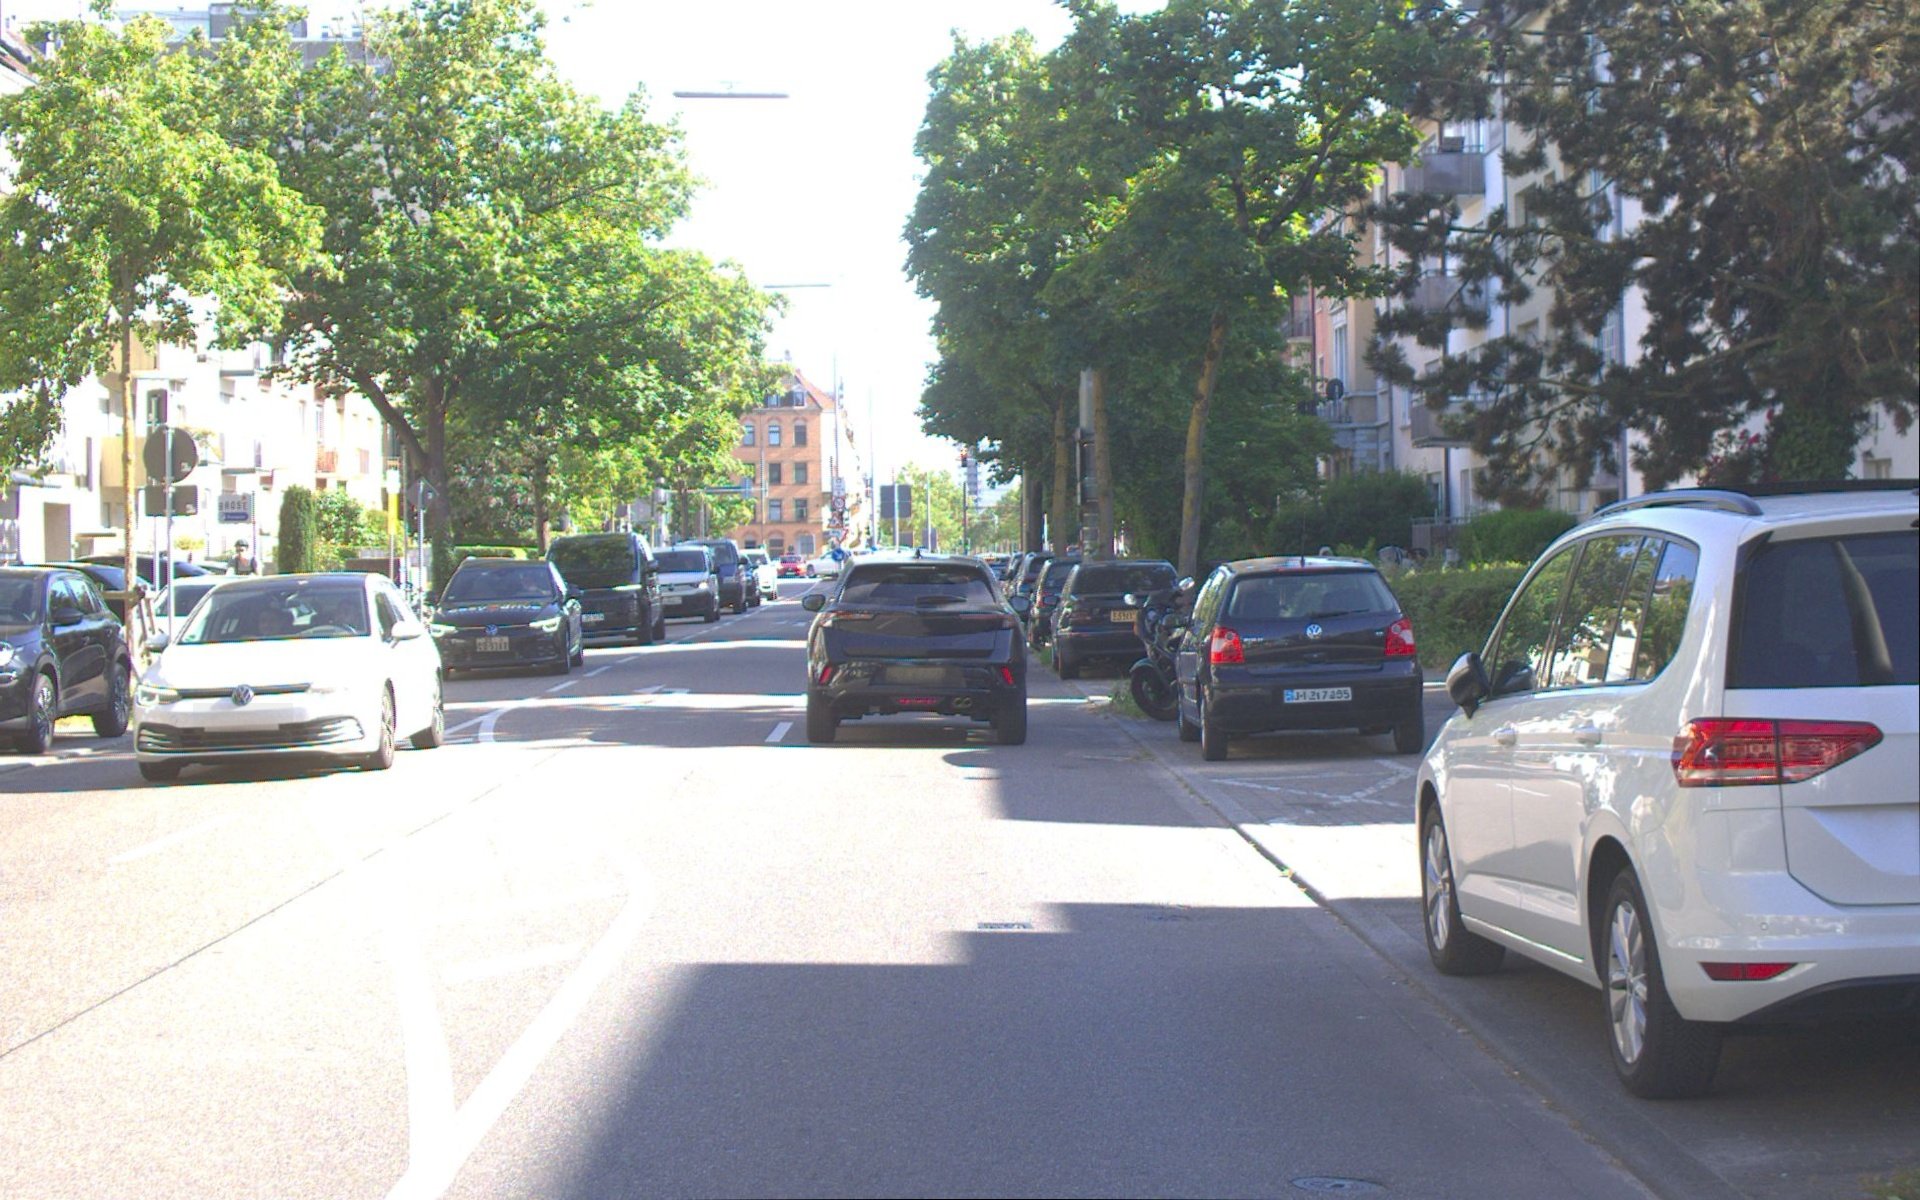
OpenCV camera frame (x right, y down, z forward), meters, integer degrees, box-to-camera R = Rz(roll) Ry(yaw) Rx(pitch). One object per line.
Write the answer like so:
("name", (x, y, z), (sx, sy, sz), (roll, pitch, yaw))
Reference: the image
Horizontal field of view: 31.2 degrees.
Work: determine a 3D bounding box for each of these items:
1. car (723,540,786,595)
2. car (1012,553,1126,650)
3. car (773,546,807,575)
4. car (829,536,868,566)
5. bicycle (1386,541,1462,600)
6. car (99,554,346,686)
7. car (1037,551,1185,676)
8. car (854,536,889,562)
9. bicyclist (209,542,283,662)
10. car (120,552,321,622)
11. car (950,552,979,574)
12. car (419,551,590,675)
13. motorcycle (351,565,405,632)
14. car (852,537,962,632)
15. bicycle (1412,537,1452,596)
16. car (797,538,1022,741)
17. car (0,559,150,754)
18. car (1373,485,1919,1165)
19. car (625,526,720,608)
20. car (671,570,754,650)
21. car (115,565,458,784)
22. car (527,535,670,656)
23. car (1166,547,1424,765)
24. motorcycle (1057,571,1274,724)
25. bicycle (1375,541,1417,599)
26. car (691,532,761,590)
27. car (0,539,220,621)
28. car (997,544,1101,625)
("car", (-6.659, -1.070, 111.894), (1.806, 1.642, 4.673), (-3, 1, -1))
("car", (1.712, -0.003, 53.819), (1.692, 1.423, 4.147), (-1, 1, 2))
("car", (-9.881, -2.308, 200.107), (1.791, 1.611, 4.000), (-1, 1, 0))
("car", (-5.568, -2.474, 171.969), (1.772, 1.447, 3.885), (-1, 1, 1))
("bicycle", (10.294, -0.662, 76.289), (1.537, 1.218, 0.463), (-3, 1, 30))
("car", (-8.259, 0.181, 38.901), (1.833, 1.384, 4.802), (0, 1, -1))
("car", (1.818, 0.129, 42.479), (1.586, 1.391, 4.454), (-2, 1, 0))
("car", (-5.076, -2.914, 196.924), (1.772, 1.447, 3.885), (-1, 1, 2))
("bicyclist", (-11.034, 0.032, 53.127), (0.659, 1.818, 1.054), (-2, 1, -40))
("car", (-16.050, -0.298, 74.770), (3.987, 1.481, 1.881), (0, 1, -1))
("car", (0.328, -2.671, 249.066), (1.993, 1.514, 4.000), (2, 0, 1))
("car", (-5.887, 0.134, 44.823), (1.691, 1.448, 4.174), (-3, 1, -1))
("motorcycle", (-10.099, -0.029, 59.690), (0.461, 1.122, 1.717), (0, 1, 7))
("car", (-0.892, -0.298, 59.650), (1.830, 1.573, 3.839), (-1, 1, 0))
("bicycle", (10.702, -0.767, 77.987), (0.591, 1.283, 1.689), (-3, 1, 0))
("car", (-0.417, 0.288, 28.670), (1.745, 1.568, 3.558), (1, 1, -1))
("car", (-8.333, 0.430, 29.736), (1.678, 1.549, 4.008), (0, 1, 0))
("car", (2.526, 0.501, 10.640), (1.768, 1.653, 4.342), (-2, 1, -2))
("car", (-6.558, -0.760, 78.719), (1.815, 1.737, 4.493), (-3, 1, -1))
("car", (-6.427, 0.222, 89.636), (1.803, 1.904, 4.712), (-3, 1, -1))
("car", (-4.946, 0.492, 25.799), (1.733, 1.407, 4.192), (-3, 1, -1))
("car", (-6.274, -0.119, 60.170), (2.016, 1.945, 5.179), (-3, 1, -2))
("car", (2.484, 0.371, 26.199), (1.620, 1.494, 3.649), (-2, 1, 1))
("motorcycle", (1.786, 0.402, 30.369), (0.697, 1.267, 2.432), (-3, 1, -28))
("bicycle", (9.896, -0.685, 78.048), (0.623, 1.283, 1.842), (-3, 1, 0))
("car", (-6.747, -1.138, 99.579), (1.719, 1.560, 4.343), (-3, 1, -1))
("car", (-15.771, -0.379, 62.994), (3.988, 1.456, 1.732), (0, 1, 8))
("car", (1.687, -0.327, 66.612), (1.714, 1.484, 4.235), (-1, 1, -2))
